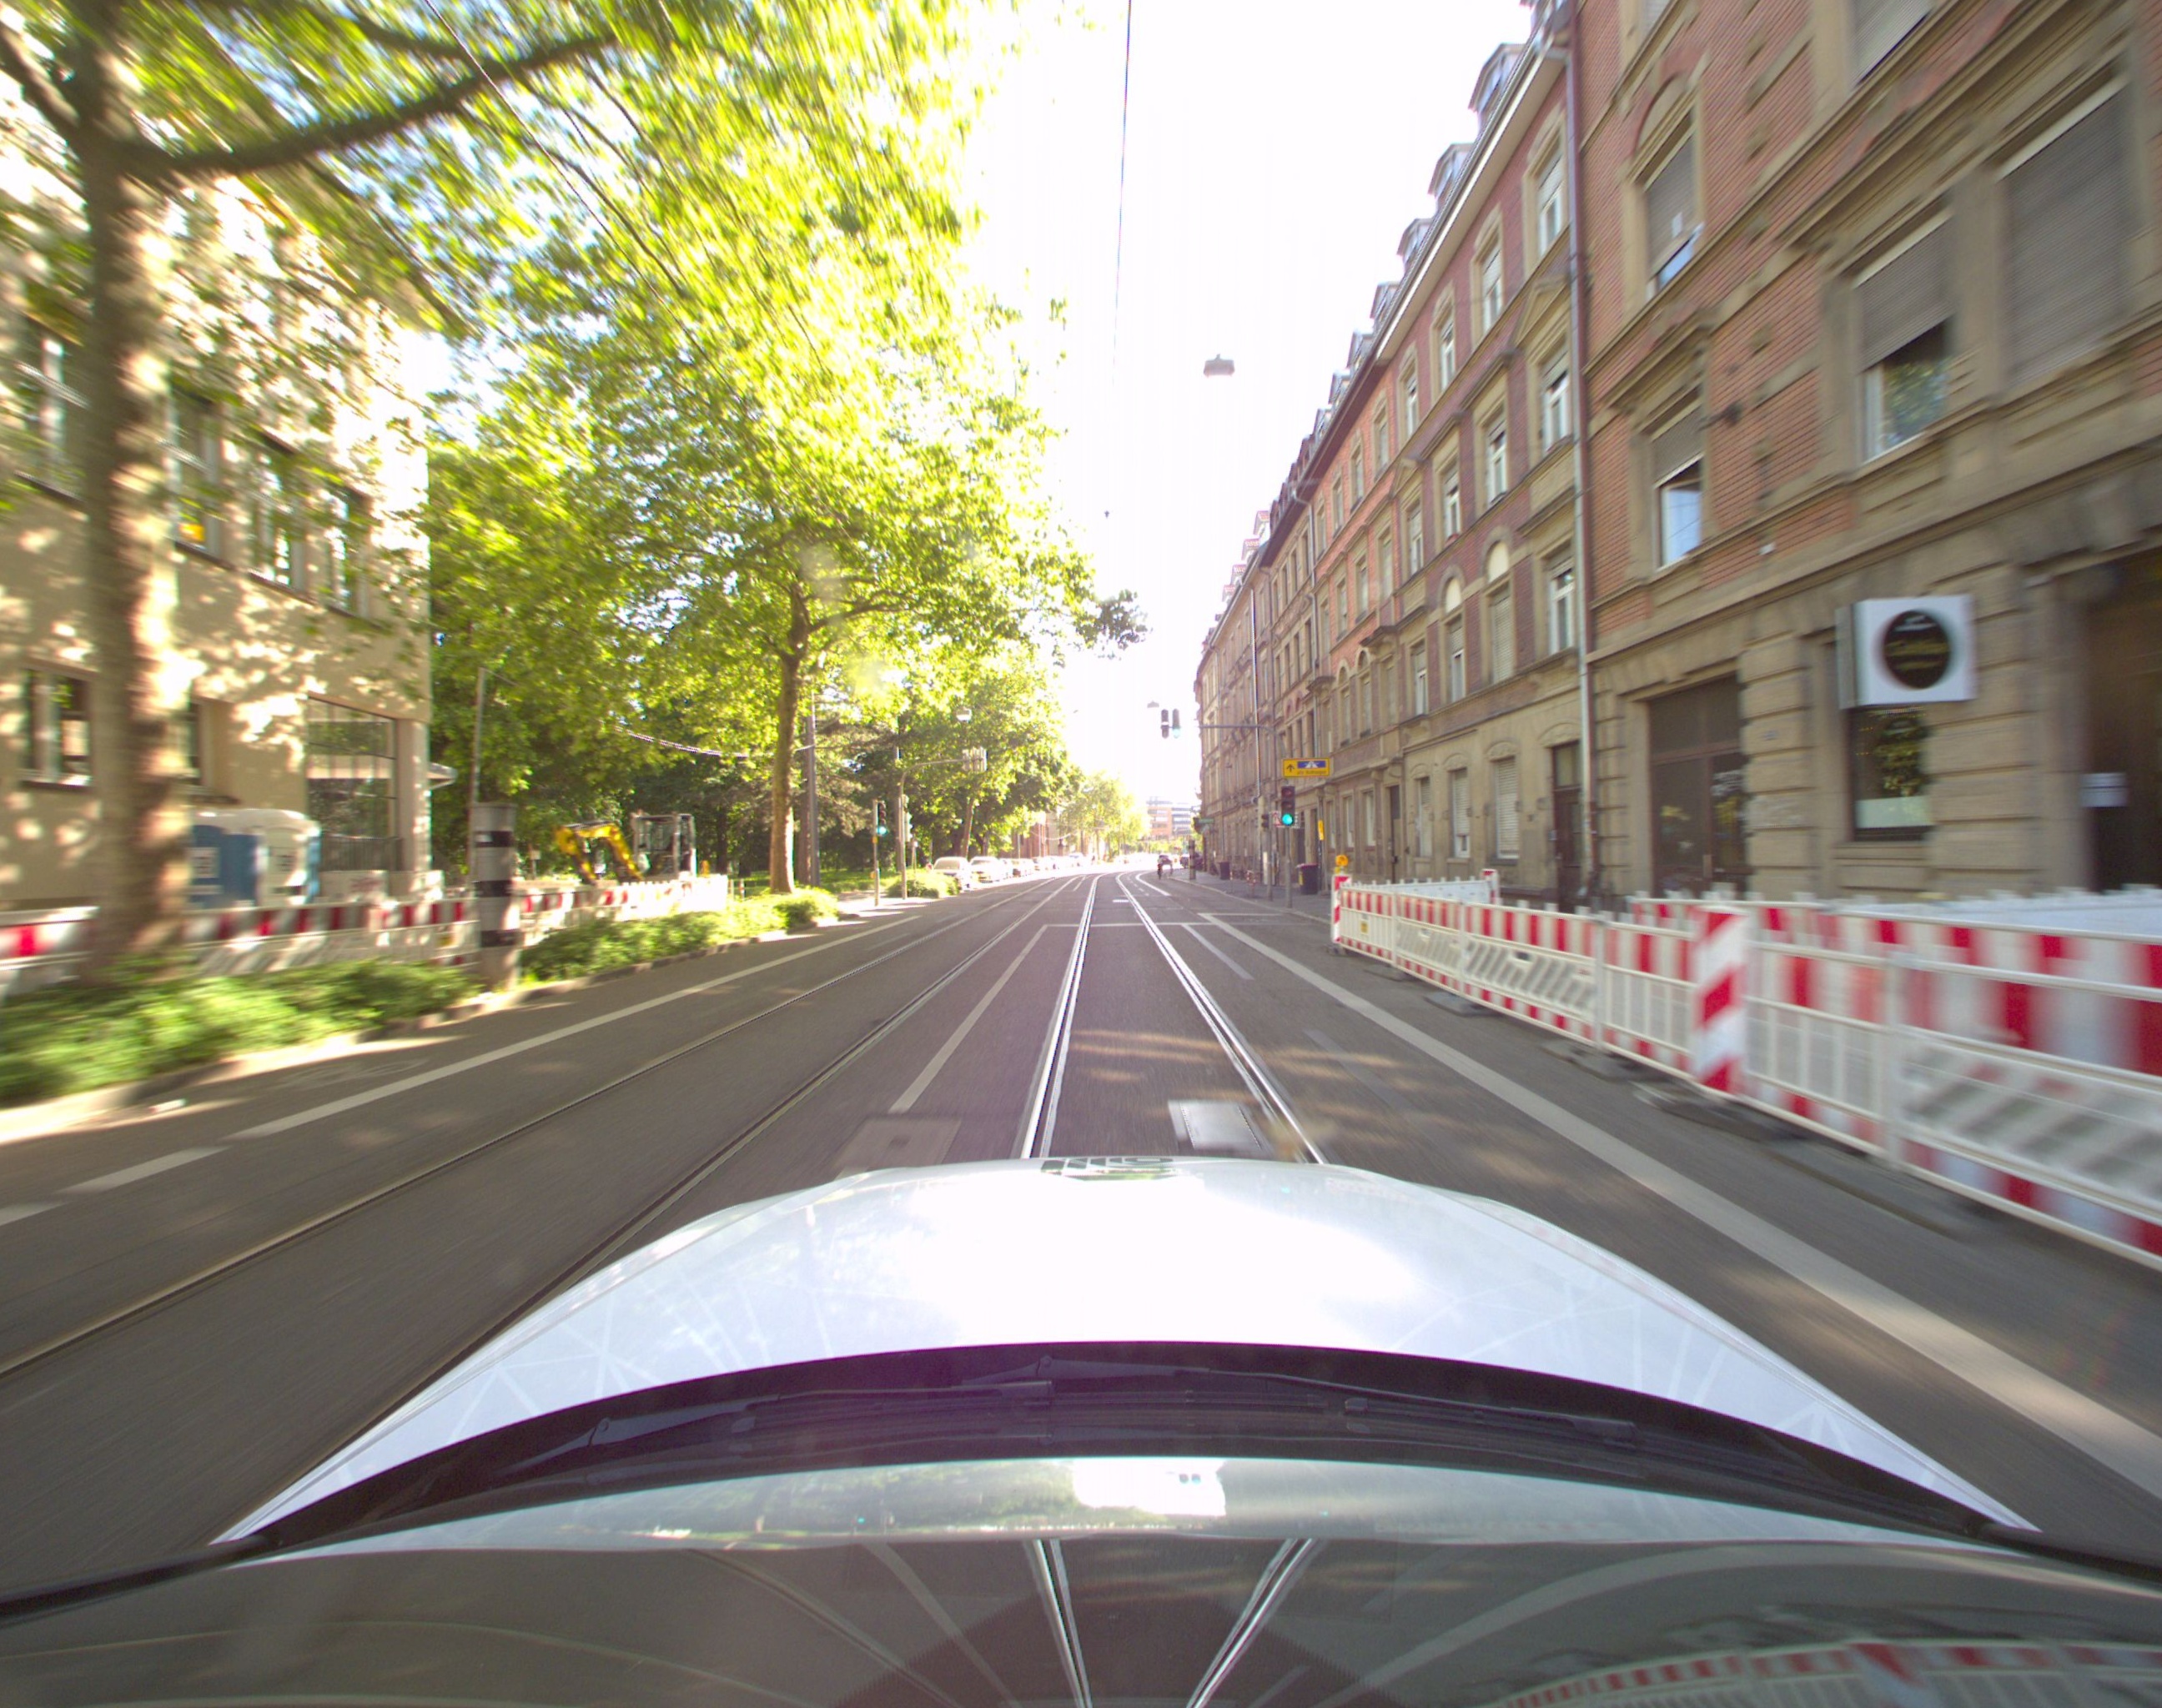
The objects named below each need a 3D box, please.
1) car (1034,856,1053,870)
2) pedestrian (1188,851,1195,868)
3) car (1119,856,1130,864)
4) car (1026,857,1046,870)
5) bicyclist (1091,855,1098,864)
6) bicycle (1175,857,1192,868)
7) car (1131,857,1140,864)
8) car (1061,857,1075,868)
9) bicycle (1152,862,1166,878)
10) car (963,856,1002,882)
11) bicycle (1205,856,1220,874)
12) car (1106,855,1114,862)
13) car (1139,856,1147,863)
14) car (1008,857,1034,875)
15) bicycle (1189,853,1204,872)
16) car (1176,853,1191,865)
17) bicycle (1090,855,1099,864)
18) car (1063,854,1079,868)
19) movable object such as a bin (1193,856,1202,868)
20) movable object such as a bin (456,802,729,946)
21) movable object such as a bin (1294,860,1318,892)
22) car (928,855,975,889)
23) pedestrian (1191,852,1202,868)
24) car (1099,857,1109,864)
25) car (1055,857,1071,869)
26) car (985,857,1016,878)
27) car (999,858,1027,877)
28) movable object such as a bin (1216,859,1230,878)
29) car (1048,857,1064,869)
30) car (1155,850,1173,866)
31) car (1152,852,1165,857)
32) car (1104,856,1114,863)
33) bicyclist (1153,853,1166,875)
[{"bbox_3d":[-4.435,1.058,95.807,1.740,1.587,4.048,0,-1,4],"label":"car"},{"bbox_3d":[12.458,0.602,91.610,0.779,1.889,0.973,0,-1,9],"label":"pedestrian"},{"bbox_3d":[8.047,1.171,149.349,1.739,1.422,4.050,0,-1,6],"label":"car"},{"bbox_3d":[-4.979,1.055,90.748,1.740,1.495,4.048,0,-1,4],"label":"car"},{"bbox_3d":[2.293,0.961,141.558,1.071,1.427,1.149,0,-1,9],"label":"bicyclist"},{"bbox_3d":[10.495,0.882,83.435,0.633,1.118,2.312,-1,-1,38],"label":"bicycle"},{"bbox_3d":[12.084,1.470,179.792,1.739,1.422,4.050,0,-1,6],"label":"car"},{"bbox_3d":[-1.825,1.261,116.479,1.740,1.587,4.048,0,-1,4],"label":"car"},{"bbox_3d":[5.427,1.094,56.833,0.853,1.088,2.488,0,-1,2],"label":"bicycle"},{"bbox_3d":[-6.249,0.947,52.210,1.740,1.608,4.048,0,-1,4],"label":"car"},{"bbox_3d":[8.568,0.729,53.113,0.637,1.118,2.298,0,-1,2],"label":"bicycle"},{"bbox_3d":[7.321,1.153,205.834,1.739,1.625,4.050,0,-1,6],"label":"car"},{"bbox_3d":[14.519,1.302,190.334,1.739,1.422,4.050,0,-1,6],"label":"car"},{"bbox_3d":[-5.391,1.063,73.356,1.740,1.506,4.048,0,-1,4],"label":"car"},{"bbox_3d":[9.609,0.703,67.807,0.964,1.515,3.257,0,-1,13],"label":"bicycle"},{"bbox_3d":[15.956,0.807,127.416,2.019,1.849,4.301,0,-1,2],"label":"car"},{"bbox_3d":[2.321,1.003,141.588,1.227,1.572,2.904,0,-1,9],"label":"bicycle"},{"bbox_3d":[-1.417,1.050,121.518,2.049,2.052,4.048,0,-1,4],"label":"car"},{"bbox_3d":[10.420,0.750,73.118,0.693,1.092,0.741,0,-1,-1],"label":"movable object such as a bin"},{"bbox_3d":[-10.300,0.368,18.027,2.488,2.645,5.986,0,0,-1],"label":"movable object such as a bin"},{"bbox_3d":[7.892,0.766,28.598,0.618,1.110,0.780,0,-1,-2],"label":"movable object such as a bin"},{"bbox_3d":[-6.589,0.907,41.669,1.538,1.658,3.766,0,-1,4],"label":"car"},{"bbox_3d":[12.579,0.637,88.687,1.051,1.760,1.332,0,-1,2],"label":"pedestrian"},{"bbox_3d":[4.475,1.217,159.068,1.739,1.422,4.050,0,-1,6],"label":"car"},{"bbox_3d":[-2.428,1.210,111.294,1.740,1.587,4.048,0,-1,4],"label":"car"},{"bbox_3d":[-6.126,1.038,62.293,1.740,1.587,4.048,0,-1,4],"label":"car"},{"bbox_3d":[-5.611,1.109,67.799,1.740,1.509,4.048,0,-1,4],"label":"car"},{"bbox_3d":[8.160,0.850,46.784,0.671,1.036,0.814,-2,0,2],"label":"movable object such as a bin"},{"bbox_3d":[-3.214,1.159,106.105,1.740,1.587,4.048,0,-1,4],"label":"car"},{"bbox_3d":[10.646,0.492,104.646,1.986,2.014,4.002,0,-1,2],"label":"car"},{"bbox_3d":[24.027,0.171,252.461,4.004,1.422,1.759,0,-1,11],"label":"car"},{"bbox_3d":[5.845,1.075,168.994,1.739,1.422,4.050,0,-1,6],"label":"car"},{"bbox_3d":[5.452,0.710,56.849,0.835,1.558,0.965,0,-1,1],"label":"bicyclist"}]
